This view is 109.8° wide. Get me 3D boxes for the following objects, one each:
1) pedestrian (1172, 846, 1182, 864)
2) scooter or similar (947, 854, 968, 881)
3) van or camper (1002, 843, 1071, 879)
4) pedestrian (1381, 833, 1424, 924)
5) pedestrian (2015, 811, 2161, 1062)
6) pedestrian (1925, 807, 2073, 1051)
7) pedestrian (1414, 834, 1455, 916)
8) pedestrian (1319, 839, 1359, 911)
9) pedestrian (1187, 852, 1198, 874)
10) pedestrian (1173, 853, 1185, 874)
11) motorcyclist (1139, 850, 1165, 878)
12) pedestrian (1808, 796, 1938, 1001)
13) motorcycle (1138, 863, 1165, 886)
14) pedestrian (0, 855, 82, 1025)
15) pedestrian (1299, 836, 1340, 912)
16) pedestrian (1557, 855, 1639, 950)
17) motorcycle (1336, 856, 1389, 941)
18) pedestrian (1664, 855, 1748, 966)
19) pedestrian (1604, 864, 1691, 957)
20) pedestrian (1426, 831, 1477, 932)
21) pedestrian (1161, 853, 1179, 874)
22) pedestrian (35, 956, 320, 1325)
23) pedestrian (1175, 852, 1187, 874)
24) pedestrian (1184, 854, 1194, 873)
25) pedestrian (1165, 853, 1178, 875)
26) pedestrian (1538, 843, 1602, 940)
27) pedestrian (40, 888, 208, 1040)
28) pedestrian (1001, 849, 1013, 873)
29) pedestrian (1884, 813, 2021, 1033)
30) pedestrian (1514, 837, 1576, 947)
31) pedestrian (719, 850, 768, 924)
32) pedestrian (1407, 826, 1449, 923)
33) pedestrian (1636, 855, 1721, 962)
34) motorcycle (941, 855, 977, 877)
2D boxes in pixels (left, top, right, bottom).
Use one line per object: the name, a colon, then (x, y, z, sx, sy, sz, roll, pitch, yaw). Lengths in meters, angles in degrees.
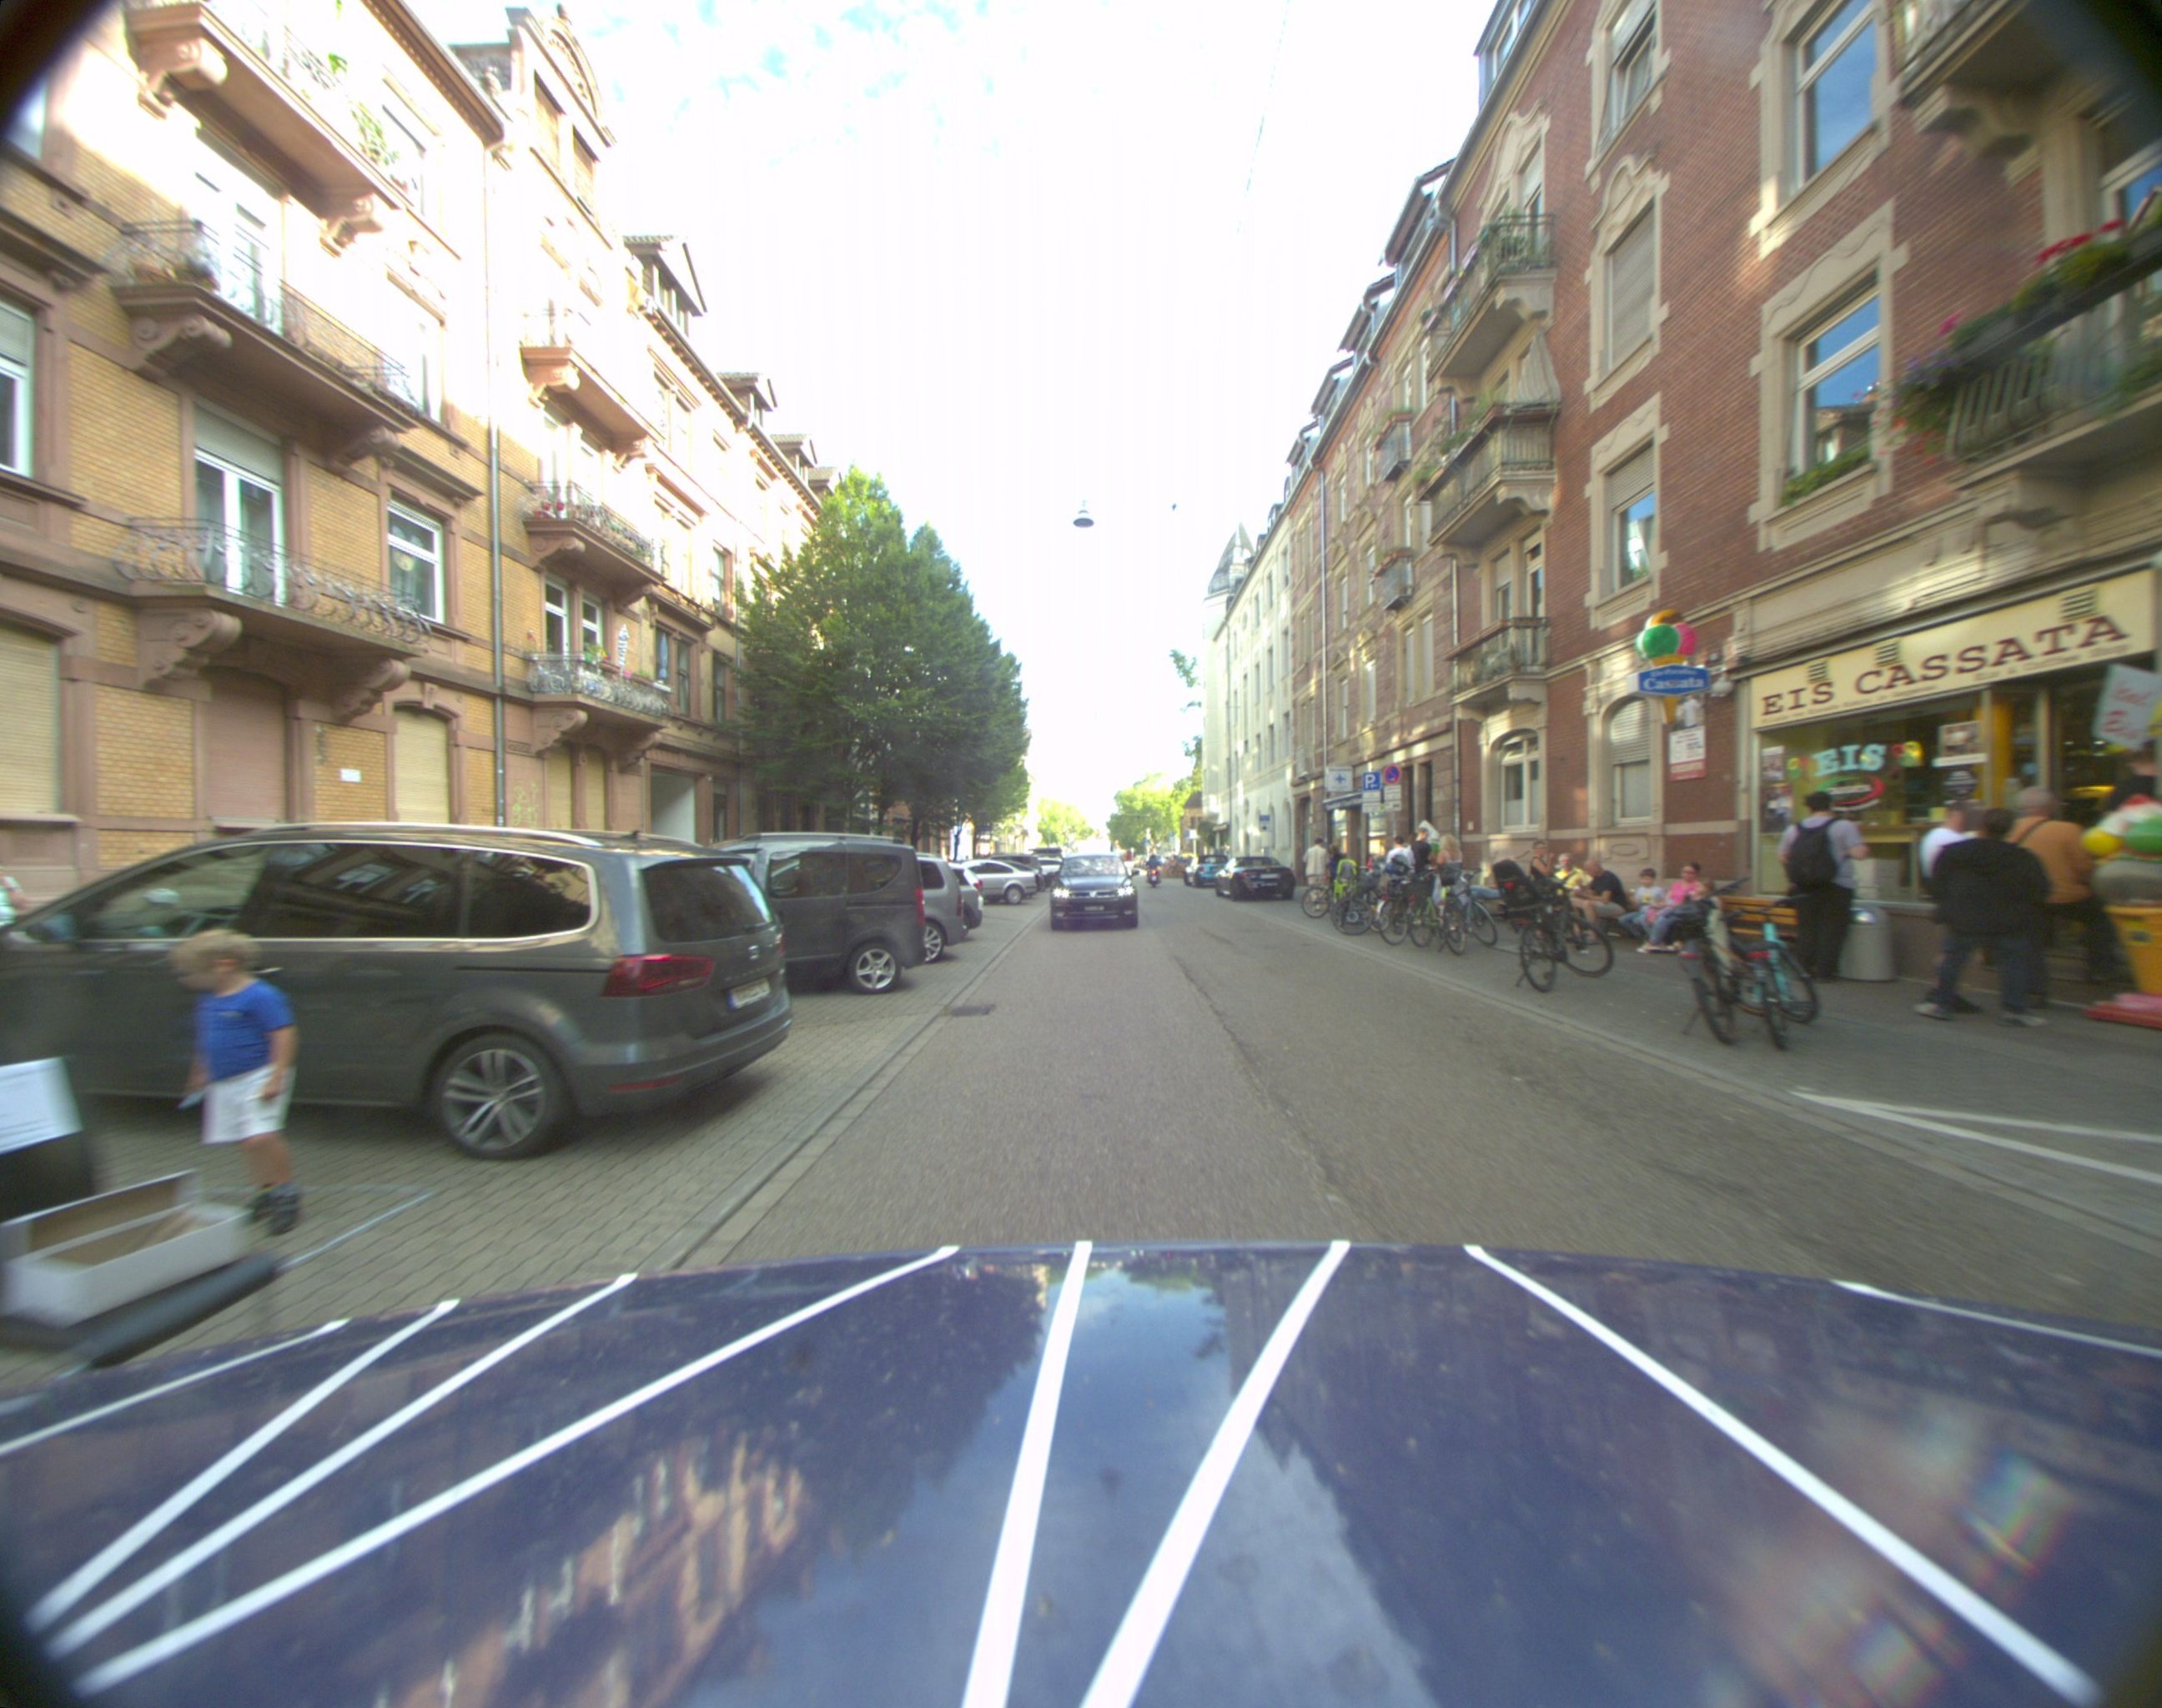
pedestrian: (9.310, 0.049, 73.535, 0.845, 1.699, 0.879, -2, 1, 2)
scooter or similar: (-6.433, 0.703, 39.594, 0.524, 1.372, 1.323, -2, 1, 16)
van or camper: (-2.899, 0.435, 49.720, 4.005, 2.166, 1.995, -2, 1, -29)
pedestrian: (6.348, 0.475, 15.044, 0.605, 1.741, 0.946, -2, 1, 14)
pedestrian: (7.571, 0.544, 5.491, 0.665, 1.686, 0.763, -2, 1, 2)
pedestrian: (6.837, 0.516, 5.665, 0.566, 1.686, 0.645, -3, 1, -36)
pedestrian: (7.721, 0.456, 16.603, 0.688, 1.749, 0.667, -2, 1, 32)
pedestrian: (6.437, 0.524, 18.948, 0.761, 1.749, 0.667, -2, 1, 32)
pedestrian: (7.040, 0.562, 48.053, 0.637, 1.364, 0.684, -2, 1, 5)
pedestrian: (6.389, 0.592, 49.552, 0.668, 1.328, 0.740, -2, 1, 8)
motorcyclist: (3.312, 0.471, 35.431, 1.016, 1.238, 0.803, -2, 1, -4)
pedestrian: (7.611, 0.391, 7.308, 0.764, 1.843, 0.664, -3, 1, -29)
motorcycle: (3.294, 0.950, 35.720, 0.796, 0.989, 2.498, -2, 0, -5)
pedestrian: (-9.916, 0.752, 6.766, 0.930, 1.488, 0.812, 0, 0, -5)
pedestrian: (5.819, 0.471, 18.536, 0.761, 1.808, 0.667, -2, 1, 32)
pedestrian: (7.408, 0.677, 10.909, 0.725, 1.306, 0.606, -2, 1, -2)
motorcycle: (4.998, 0.750, 13.602, 0.708, 1.376, 2.026, -2, 0, 16)
pedestrian: (7.640, 0.680, 9.294, 0.703, 1.306, 0.373, -2, 1, -2)
pedestrian: (7.606, 0.742, 10.228, 0.710, 1.190, 0.586, -2, 1, -2)
pedestrian: (6.561, 0.479, 13.483, 0.605, 1.741, 0.726, -2, 1, 12)
pedestrian: (6.001, 0.616, 51.369, 1.088, 1.365, 0.895, -2, 1, 10)
pedestrian: (-3.482, 1.066, 2.971, 0.471, 1.244, 0.509, 3, 1, -6)
pedestrian: (6.358, 0.575, 48.176, 0.689, 1.365, 0.739, -2, 1, 5)
pedestrian: (7.007, 0.601, 49.427, 0.597, 1.236, 0.694, -2, 1, 8)
pedestrian: (5.823, 0.628, 48.770, 0.738, 1.341, 0.644, -2, 1, 4)
pedestrian: (7.693, 0.574, 11.983, 0.605, 1.461, 0.726, -2, 1, 12)
pedestrian: (-8.336, 0.928, 6.647, 0.602, 1.212, 0.673, 2, 1, 1)
pedestrian: (-5.442, 0.522, 55.970, 0.754, 1.729, 0.952, 2, 1, -3)
pedestrian: (7.153, 0.526, 6.243, 0.667, 1.686, 0.584, -3, 1, -29)
pedestrian: (7.034, 0.561, 11.532, 0.554, 1.607, 0.584, -2, 1, 2)
pedestrian: (-7.597, 0.720, 17.154, 0.733, 1.625, 0.833, 0, 2, -1)
pedestrian: (6.943, 0.407, 15.200, 0.646, 1.881, 0.602, -2, 1, 32)
pedestrian: (7.623, 0.677, 9.705, 0.719, 1.306, 0.439, -2, 1, -2)
motorcycle: (-7.301, 0.716, 45.701, 1.984, 1.220, 0.827, 3, 1, 0)
